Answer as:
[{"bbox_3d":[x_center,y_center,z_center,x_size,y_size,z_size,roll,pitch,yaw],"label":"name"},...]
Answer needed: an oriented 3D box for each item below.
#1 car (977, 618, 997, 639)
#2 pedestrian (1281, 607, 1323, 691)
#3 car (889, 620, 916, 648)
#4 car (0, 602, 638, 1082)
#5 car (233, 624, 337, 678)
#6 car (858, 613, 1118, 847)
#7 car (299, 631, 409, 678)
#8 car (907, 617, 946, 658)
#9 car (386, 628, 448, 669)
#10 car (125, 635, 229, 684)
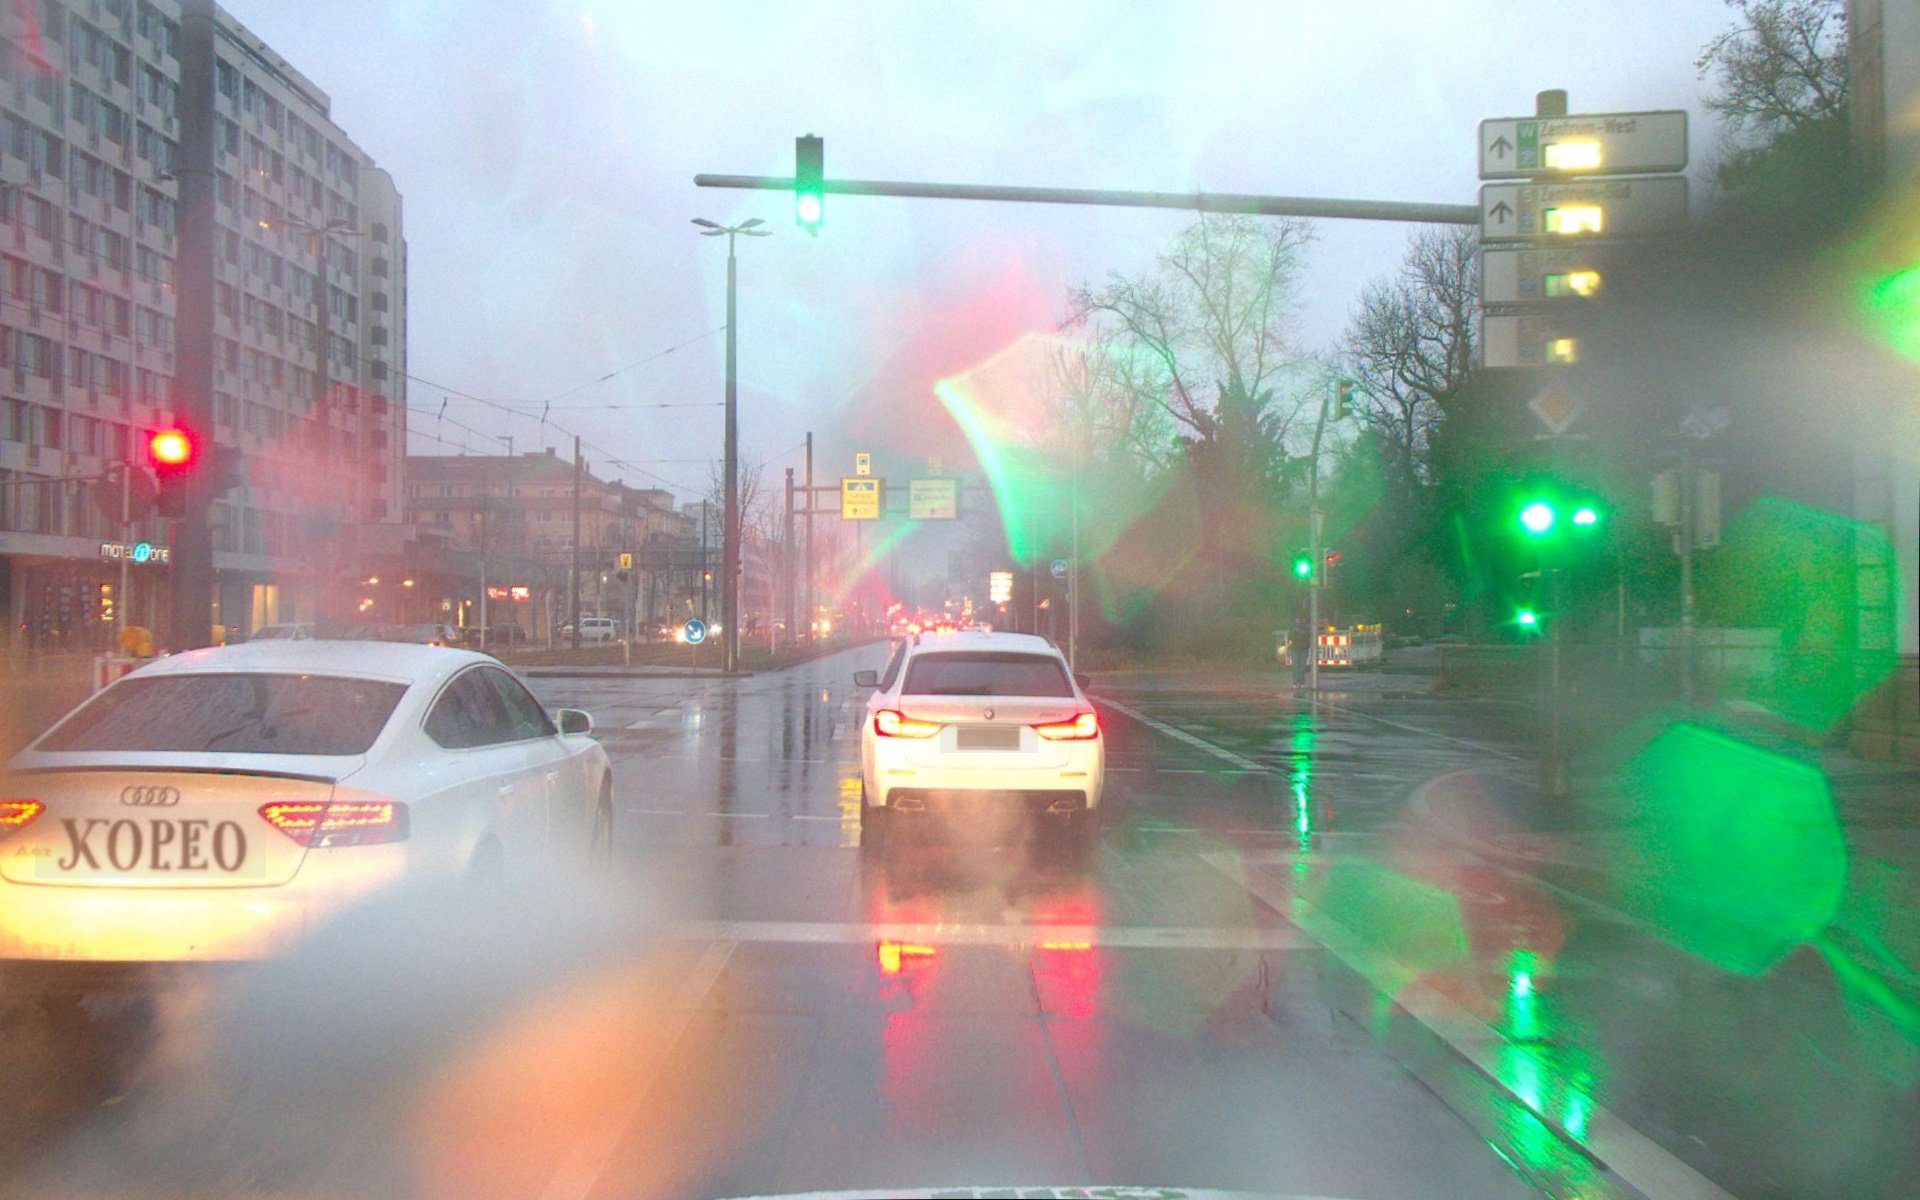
[{"bbox_3d":[2.757,2.947,171.882,1.953,2.049,3.999,1,-1,-1],"label":"car"},{"bbox_3d":[7.918,1.132,38.300,0.662,1.912,0.711,1,-1,-18],"label":"pedestrian"},{"bbox_3d":[-4.445,2.616,127.761,1.953,2.049,3.999,1,-1,-1],"label":"car"},{"bbox_3d":[-2.624,0.800,7.332,1.724,1.495,4.248,1,-1,-3],"label":"car"},{"bbox_3d":[-23.991,1.778,58.942,1.843,1.821,4.597,1,-1,-1],"label":"car"},{"bbox_3d":[0.067,0.927,13.456,1.725,1.580,4.247,1,-1,-4],"label":"car"},{"bbox_3d":[-20.920,1.858,57.367,1.953,1.487,5.093,1,-1,-1],"label":"car"},{"bbox_3d":[-1.701,1.933,85.392,1.953,2.049,3.999,1,-1,-1],"label":"car"},{"bbox_3d":[-21.076,1.852,64.386,1.960,1.487,5.074,1,-1,-15],"label":"car"},{"bbox_3d":[-27.383,2.067,57.983,1.843,1.601,3.998,1,-1,-2],"label":"car"}]
